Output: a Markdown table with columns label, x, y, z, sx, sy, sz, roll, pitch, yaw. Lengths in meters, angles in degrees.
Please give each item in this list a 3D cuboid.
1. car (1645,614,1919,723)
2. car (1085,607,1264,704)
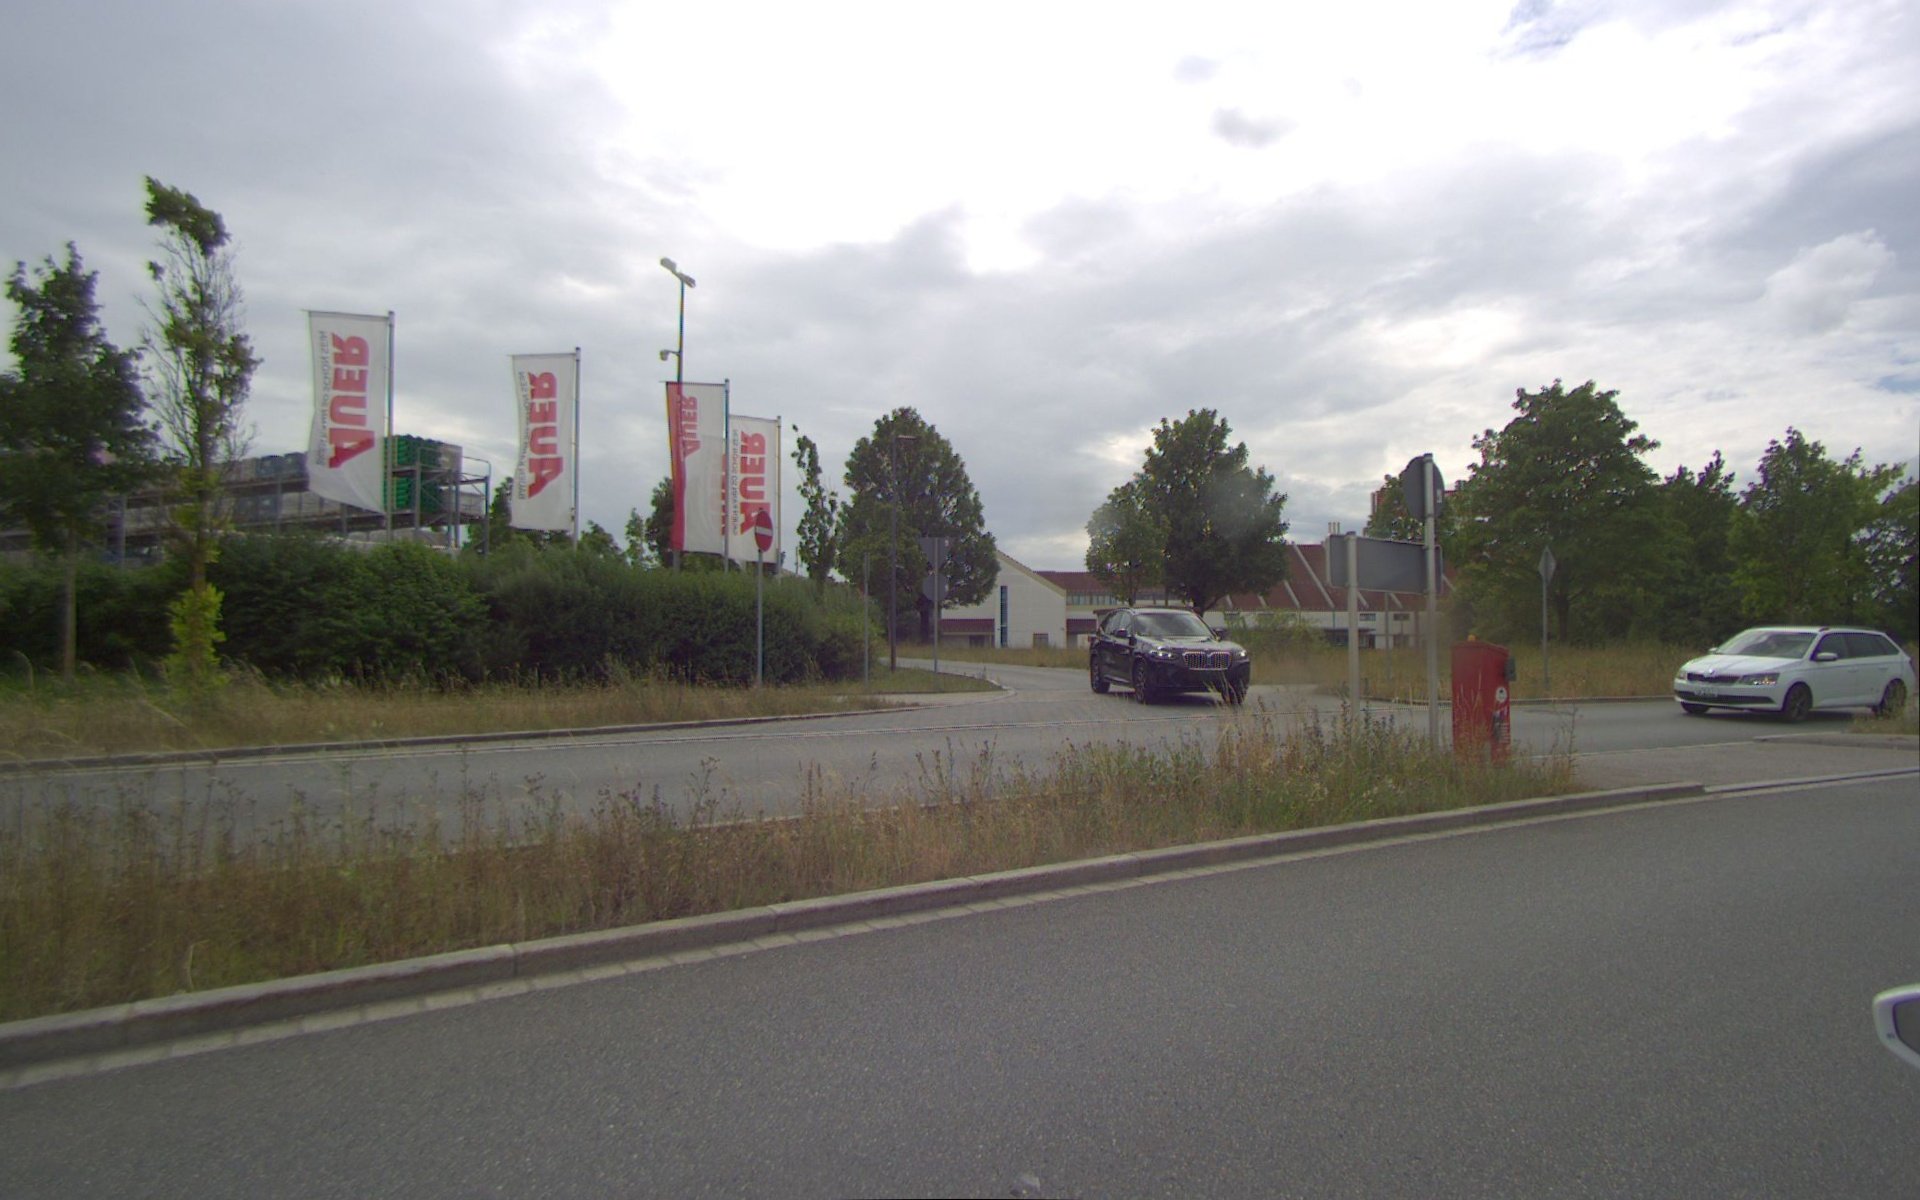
| label | x | y | z | sx | sy | sz | roll | pitch | yaw |
| --- | --- | --- | --- | --- | --- | --- | --- | --- | --- |
| car | 13.776 | 1.098 | 16.757 | 4.201 | 1.656 | 1.713 | 1 | -1 | -19 |
| car | 3.777 | 0.972 | 18.495 | 1.839 | 1.570 | 4.250 | 1 | -2 | -9 |
